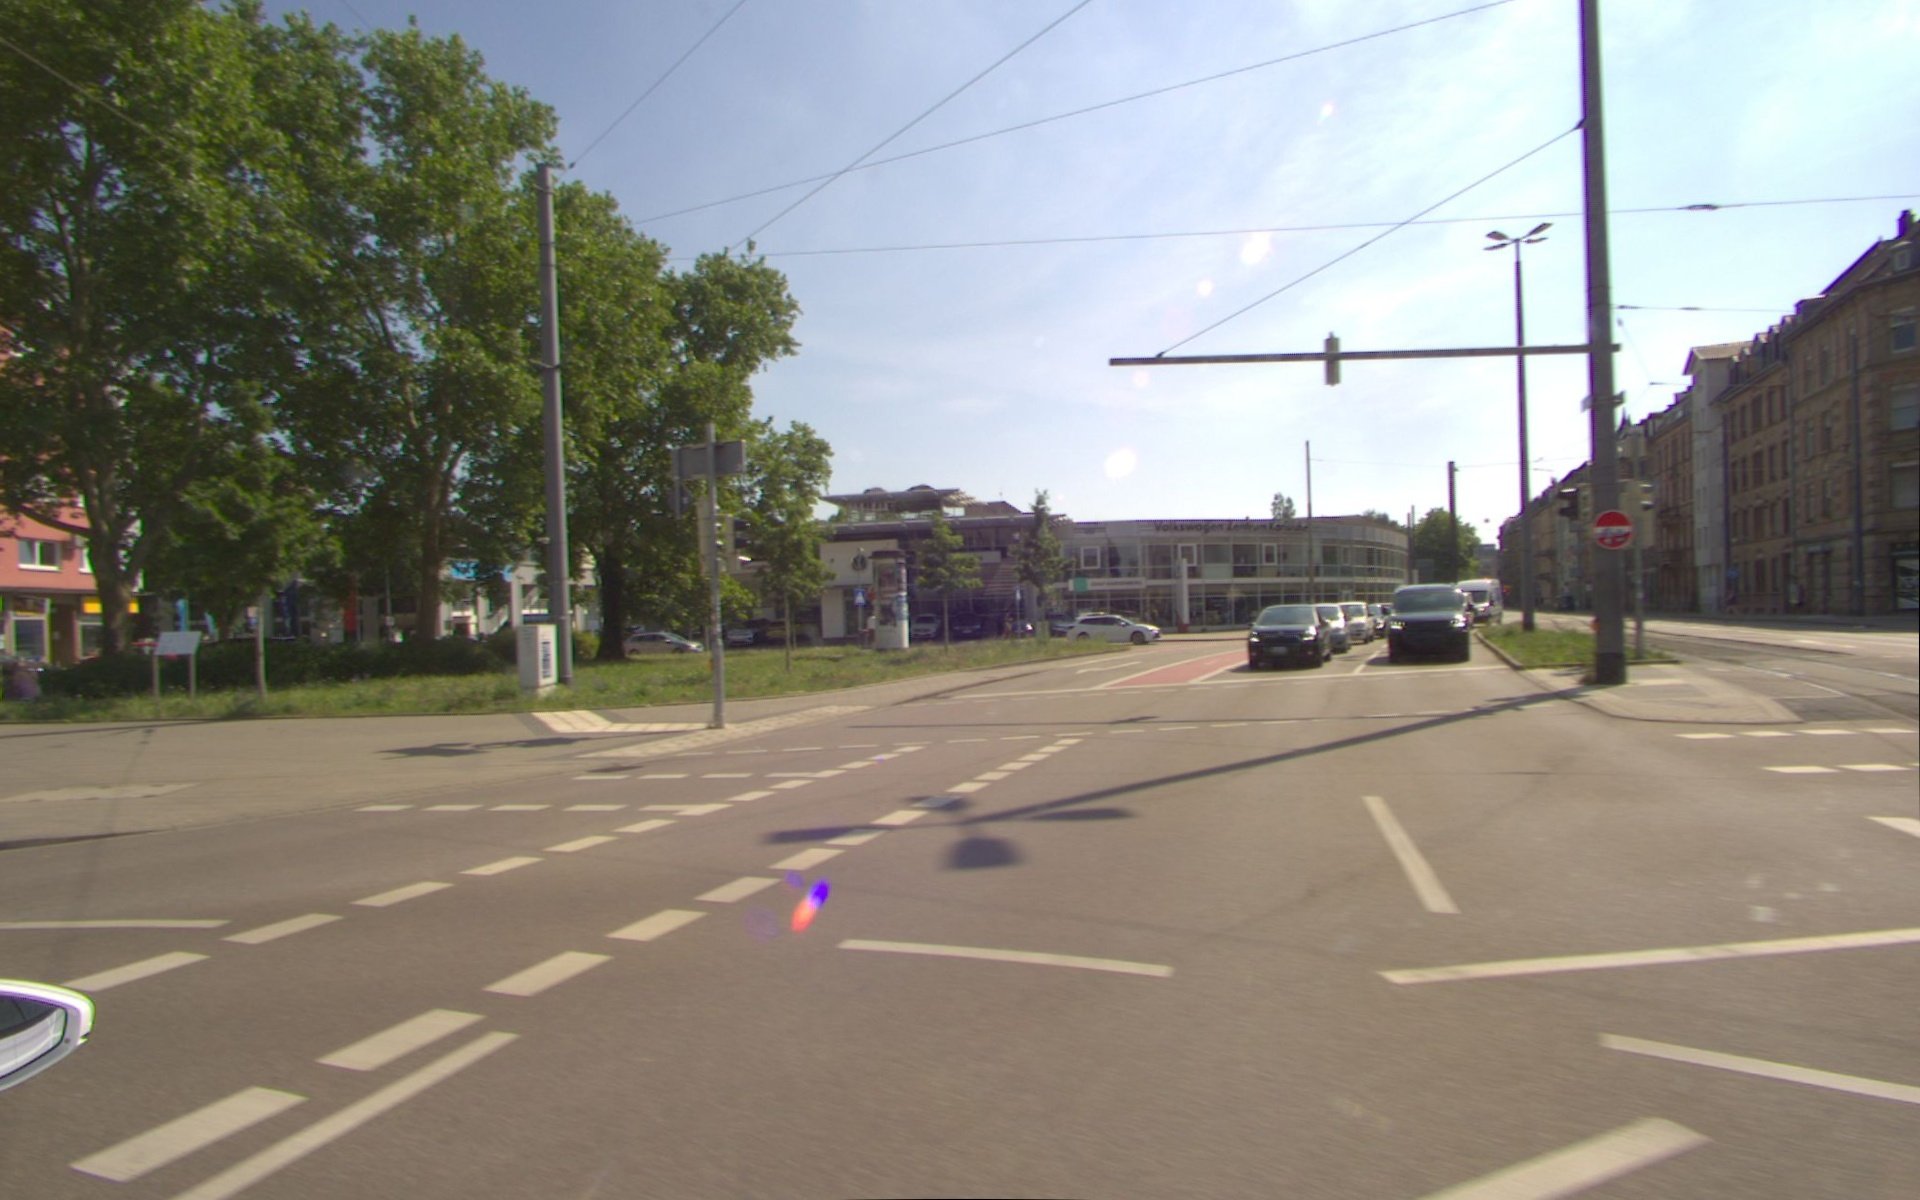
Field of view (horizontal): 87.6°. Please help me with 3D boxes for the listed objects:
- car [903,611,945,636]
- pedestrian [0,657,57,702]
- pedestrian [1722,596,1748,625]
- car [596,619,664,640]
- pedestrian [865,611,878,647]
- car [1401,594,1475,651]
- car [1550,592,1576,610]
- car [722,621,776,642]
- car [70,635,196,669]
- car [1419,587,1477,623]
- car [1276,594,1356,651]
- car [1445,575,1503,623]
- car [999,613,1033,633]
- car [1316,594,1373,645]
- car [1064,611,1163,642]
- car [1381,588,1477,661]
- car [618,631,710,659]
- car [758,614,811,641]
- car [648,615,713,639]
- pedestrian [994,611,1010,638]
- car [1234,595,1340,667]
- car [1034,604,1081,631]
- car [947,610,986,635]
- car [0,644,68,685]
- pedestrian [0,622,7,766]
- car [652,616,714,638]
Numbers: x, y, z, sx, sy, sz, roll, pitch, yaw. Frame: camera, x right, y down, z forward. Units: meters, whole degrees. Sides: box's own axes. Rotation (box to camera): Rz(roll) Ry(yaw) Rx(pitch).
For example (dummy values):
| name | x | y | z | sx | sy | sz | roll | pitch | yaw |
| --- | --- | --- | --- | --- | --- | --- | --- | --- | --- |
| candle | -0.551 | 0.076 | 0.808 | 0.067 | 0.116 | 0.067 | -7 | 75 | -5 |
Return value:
| name | x | y | z | sx | sy | sz | roll | pitch | yaw |
| --- | --- | --- | --- | --- | --- | --- | --- | --- | --- |
| car | -2.235 | 1.448 | 63.377 | 1.961 | 1.505 | 3.999 | 0 | -1 | 8 |
| pedestrian | -20.522 | 1.729 | 21.669 | 1.154 | 0.904 | 0.822 | -1 | 0 | -10 |
| pedestrian | 39.888 | 0.531 | 51.540 | 0.702 | 1.451 | 0.882 | -2 | 0 | -30 |
| car | -22.466 | 2.016 | 68.289 | 3.923 | 1.389 | 1.999 | 0 | -1 | 9 |
| pedestrian | -4.002 | 1.296 | 45.311 | 0.388 | 1.616 | 0.461 | 0 | 0 | 33 |
| car | 14.619 | 0.699 | 30.791 | 1.869 | 1.608 | 3.989 | -2 | -2 | 23 |
| car | 70.372 | 0.172 | 116.889 | 2.080 | 2.040 | 3.989 | 0 | -1 | 24 |
| car | -13.835 | 2.043 | 65.835 | 1.963 | 1.260 | 3.997 | 0 | -1 | 14 |
| car | -34.466 | 2.169 | 41.811 | 3.664 | 1.357 | 1.743 | 1 | -1 | -7 |
| car | 24.872 | 0.250 | 50.982 | 2.161 | 1.702 | 5.003 | -2 | -1 | 32 |
| car | 11.100 | 0.708 | 31.044 | 1.870 | 1.608 | 3.986 | -2 | -2 | 26 |
| car | 29.562 | 0.003 | 57.456 | 2.186 | 2.609 | 5.840 | 0 | -1 | 35 |
| car | 3.491 | 1.410 | 61.963 | 1.801 | 1.210 | 3.999 | 1 | -1 | 8 |
| car | 14.595 | 0.752 | 37.867 | 1.630 | 1.761 | 4.187 | -2 | -2 | 26 |
| car | 7.447 | 1.276 | 48.548 | 4.522 | 1.455 | 1.440 | 0 | -1 | 24 |
| car | 11.586 | 0.555 | 24.671 | 1.936 | 1.608 | 4.698 | -1 | 0 | 26 |
| car | -16.395 | 2.475 | 55.560 | 4.514 | 1.455 | 1.971 | 0 | -1 | 14 |
| car | -11.483 | 1.767 | 65.828 | 1.963 | 1.706 | 3.997 | 0 | -1 | 14 |
| car | -19.754 | 1.922 | 70.907 | 3.923 | 1.572 | 1.999 | -2 | 0 | 8 |
| pedestrian | 2.491 | 1.430 | 59.267 | 0.938 | 1.600 | 0.534 | 1 | 0 | 6 |
| car | 8.126 | 0.715 | 24.650 | 1.868 | 1.608 | 4.194 | -2 | -1 | 26 |
| car | 6.132 | 1.091 | 63.214 | 1.792 | 1.639 | 3.996 | 1 | -1 | -13 |
| car | 0.461 | 1.411 | 62.882 | 1.961 | 1.505 | 3.999 | 0 | -1 | 8 |
| car | -33.066 | 2.162 | 33.925 | 3.923 | 1.287 | 1.743 | 1 | -1 | -7 |
| pedestrian | -11.049 | 1.061 | 11.206 | 0.447 | 1.626 | 0.398 | 1 | 0 | -27 |
| car | -20.390 | 1.972 | 73.728 | 3.923 | 1.528 | 1.999 | -2 | 0 | 8 |
